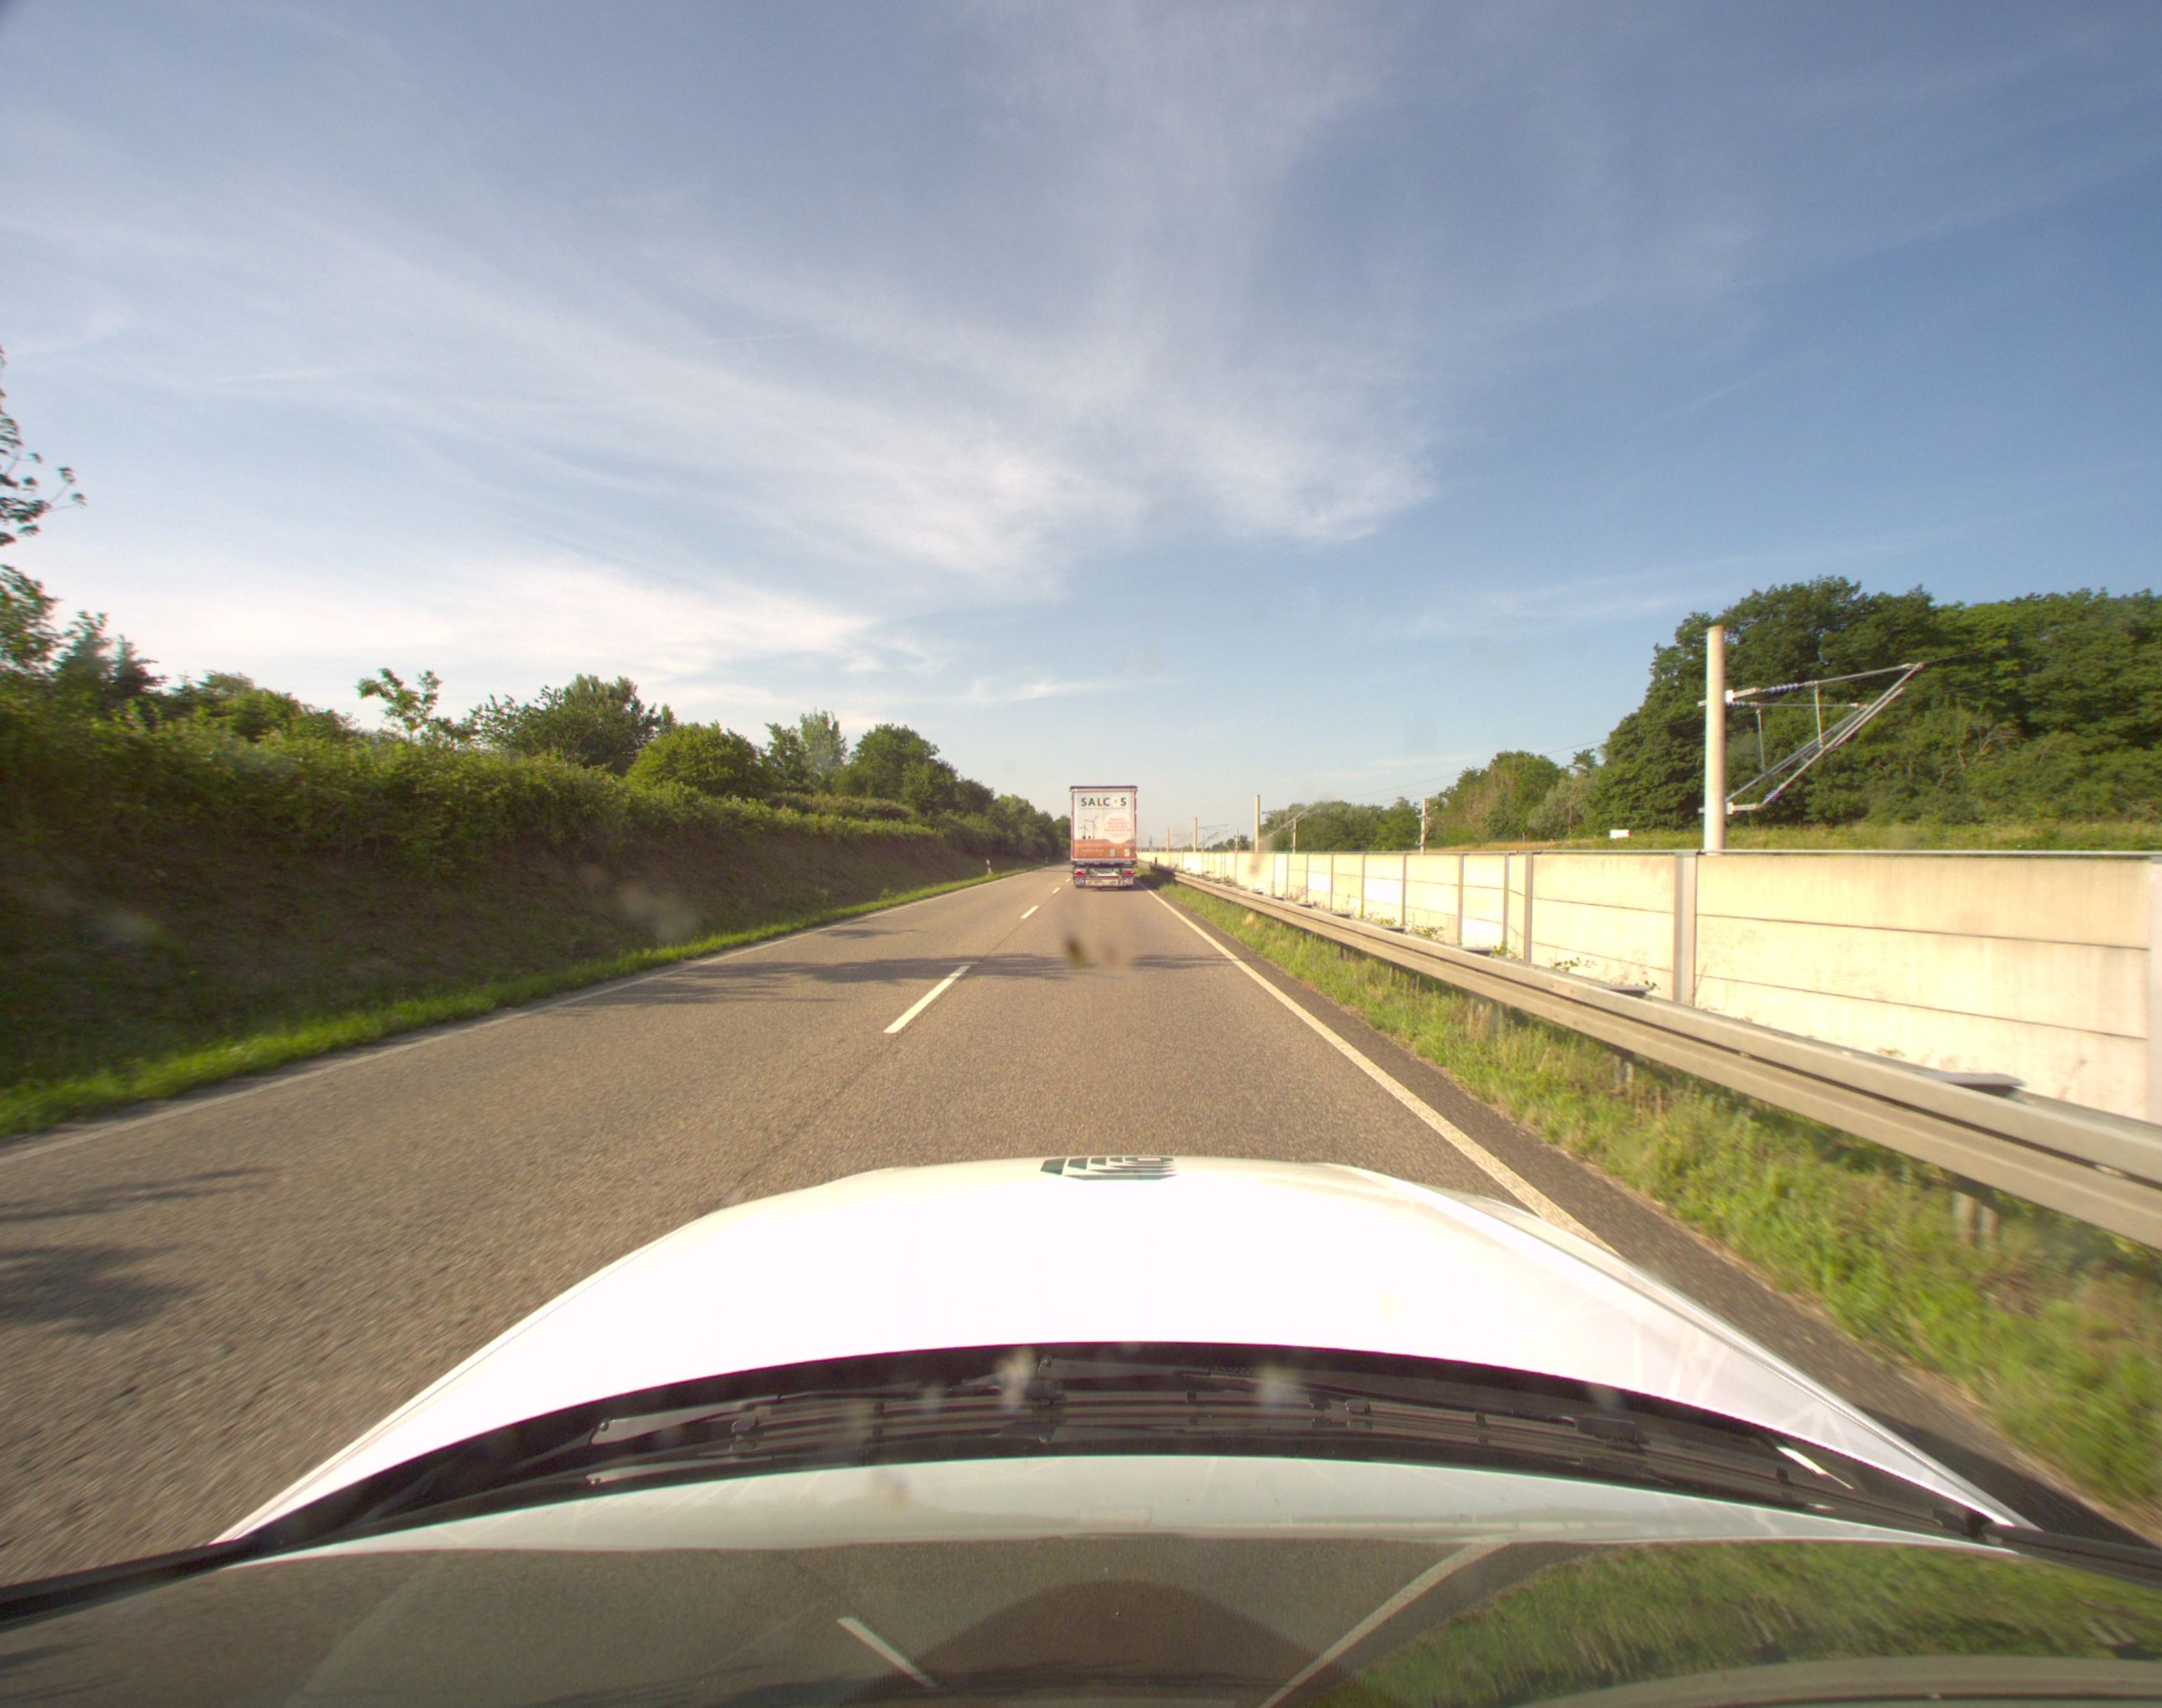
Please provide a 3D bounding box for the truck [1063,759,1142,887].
[{"bbox_3d":[0.855,-1.201,37.264,3.023,4.920,11.683,0,0,0],"label":"truck"}]
